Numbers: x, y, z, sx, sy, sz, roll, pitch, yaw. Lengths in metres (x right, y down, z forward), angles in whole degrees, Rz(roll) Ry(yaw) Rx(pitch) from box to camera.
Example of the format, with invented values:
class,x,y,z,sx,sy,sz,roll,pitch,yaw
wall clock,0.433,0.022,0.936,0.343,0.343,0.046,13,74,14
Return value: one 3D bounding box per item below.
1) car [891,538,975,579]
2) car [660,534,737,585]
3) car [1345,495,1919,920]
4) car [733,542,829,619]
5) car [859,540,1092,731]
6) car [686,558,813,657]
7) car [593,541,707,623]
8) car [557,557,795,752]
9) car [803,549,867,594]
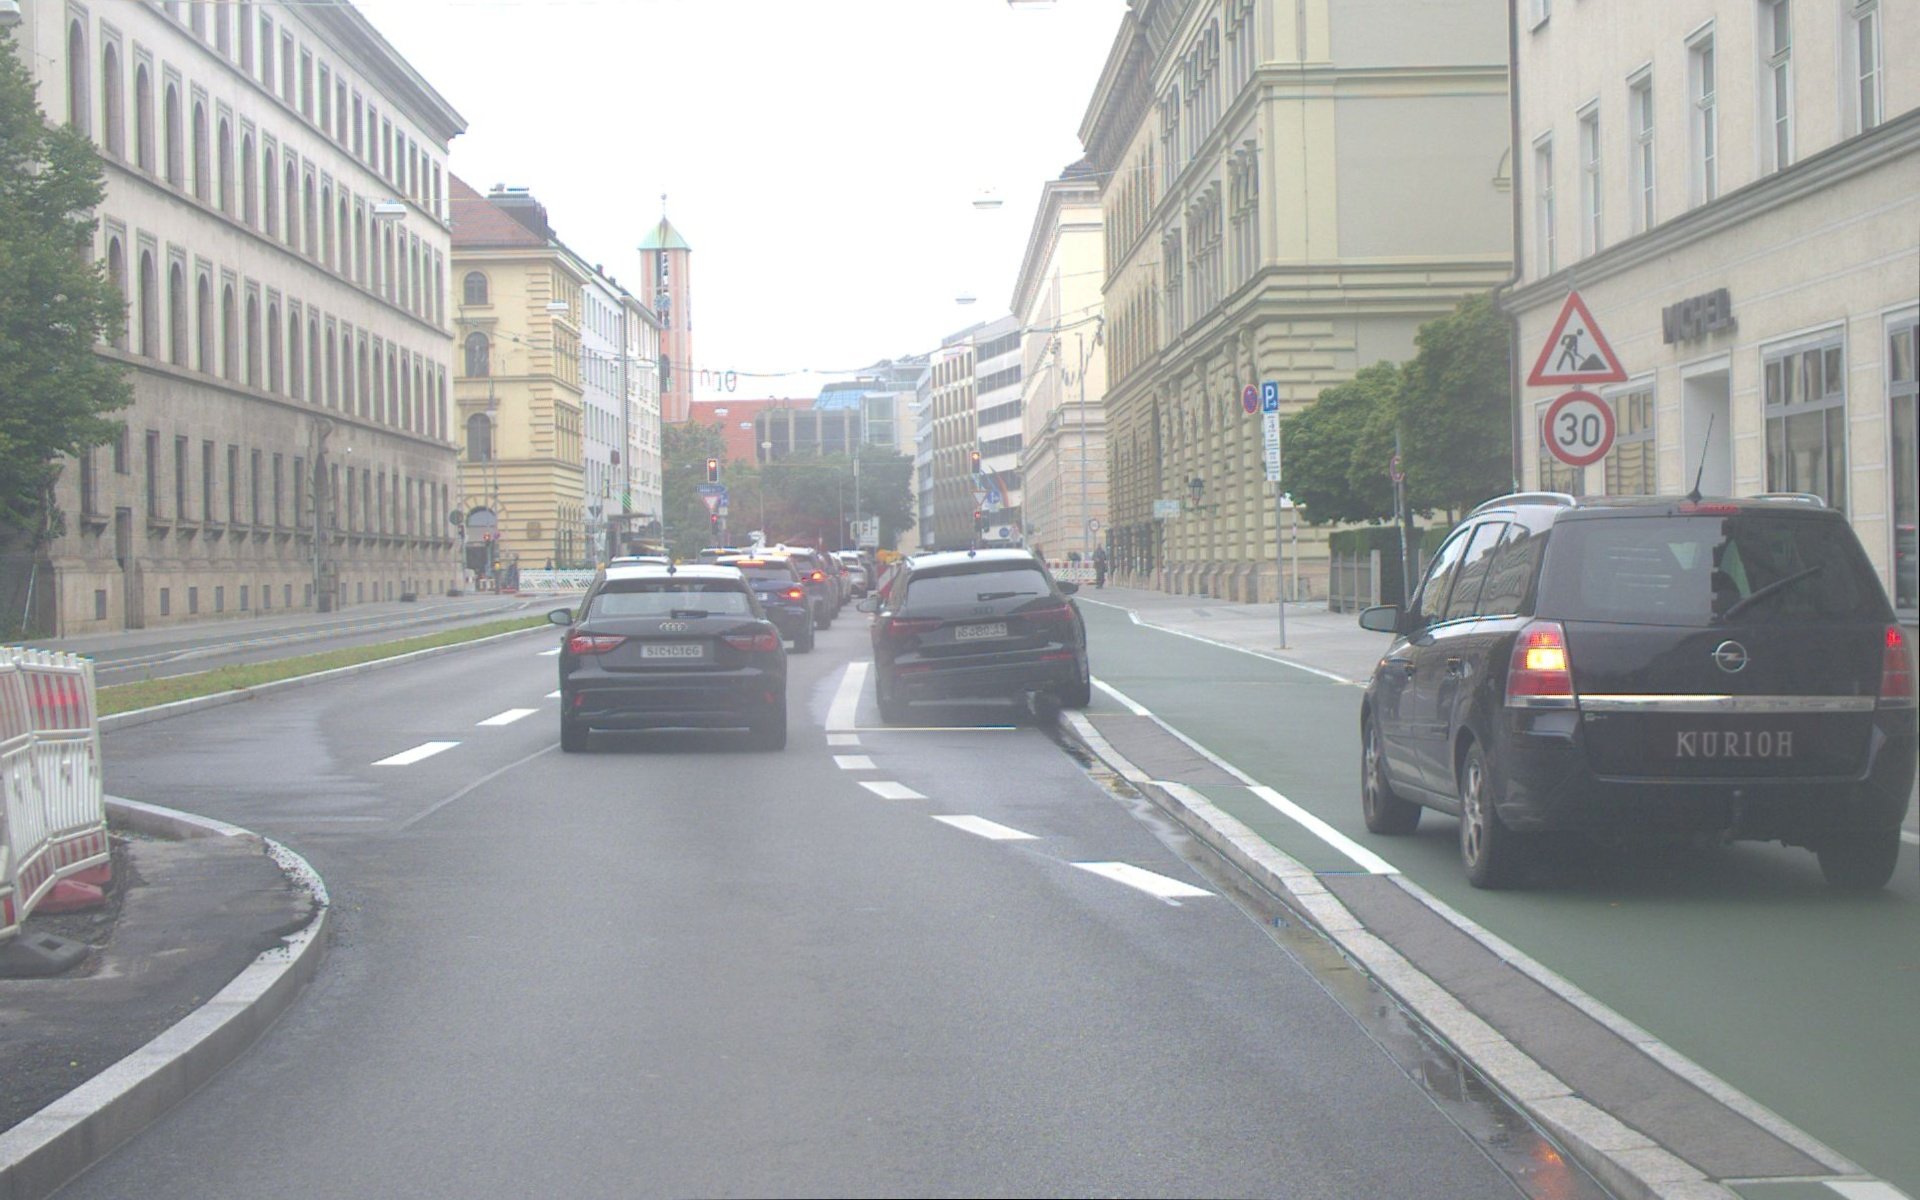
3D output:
class,x,y,z,sx,sy,sz,roll,pitch,yaw
car,-1.169,-1.832,151.062,1.997,1.744,3.994,-1,1,29
car,-7.718,-1.196,101.741,1.993,1.439,4.000,-1,1,0
car,2.842,0.373,15.061,1.764,1.610,4.030,0,1,-1
car,-3.472,-0.399,67.232,1.730,1.456,4.000,0,1,-1
car,0.066,0.261,31.500,1.808,1.475,4.463,-5,1,-2
car,-3.142,0.084,51.946,1.730,1.398,4.000,0,1,-1
car,-6.360,-0.392,71.010,1.993,1.622,4.000,-1,1,0
car,-2.250,0.378,27.193,1.730,1.398,4.001,0,1,-5
car,-4.115,-0.967,113.965,1.993,1.439,4.000,-1,1,0
